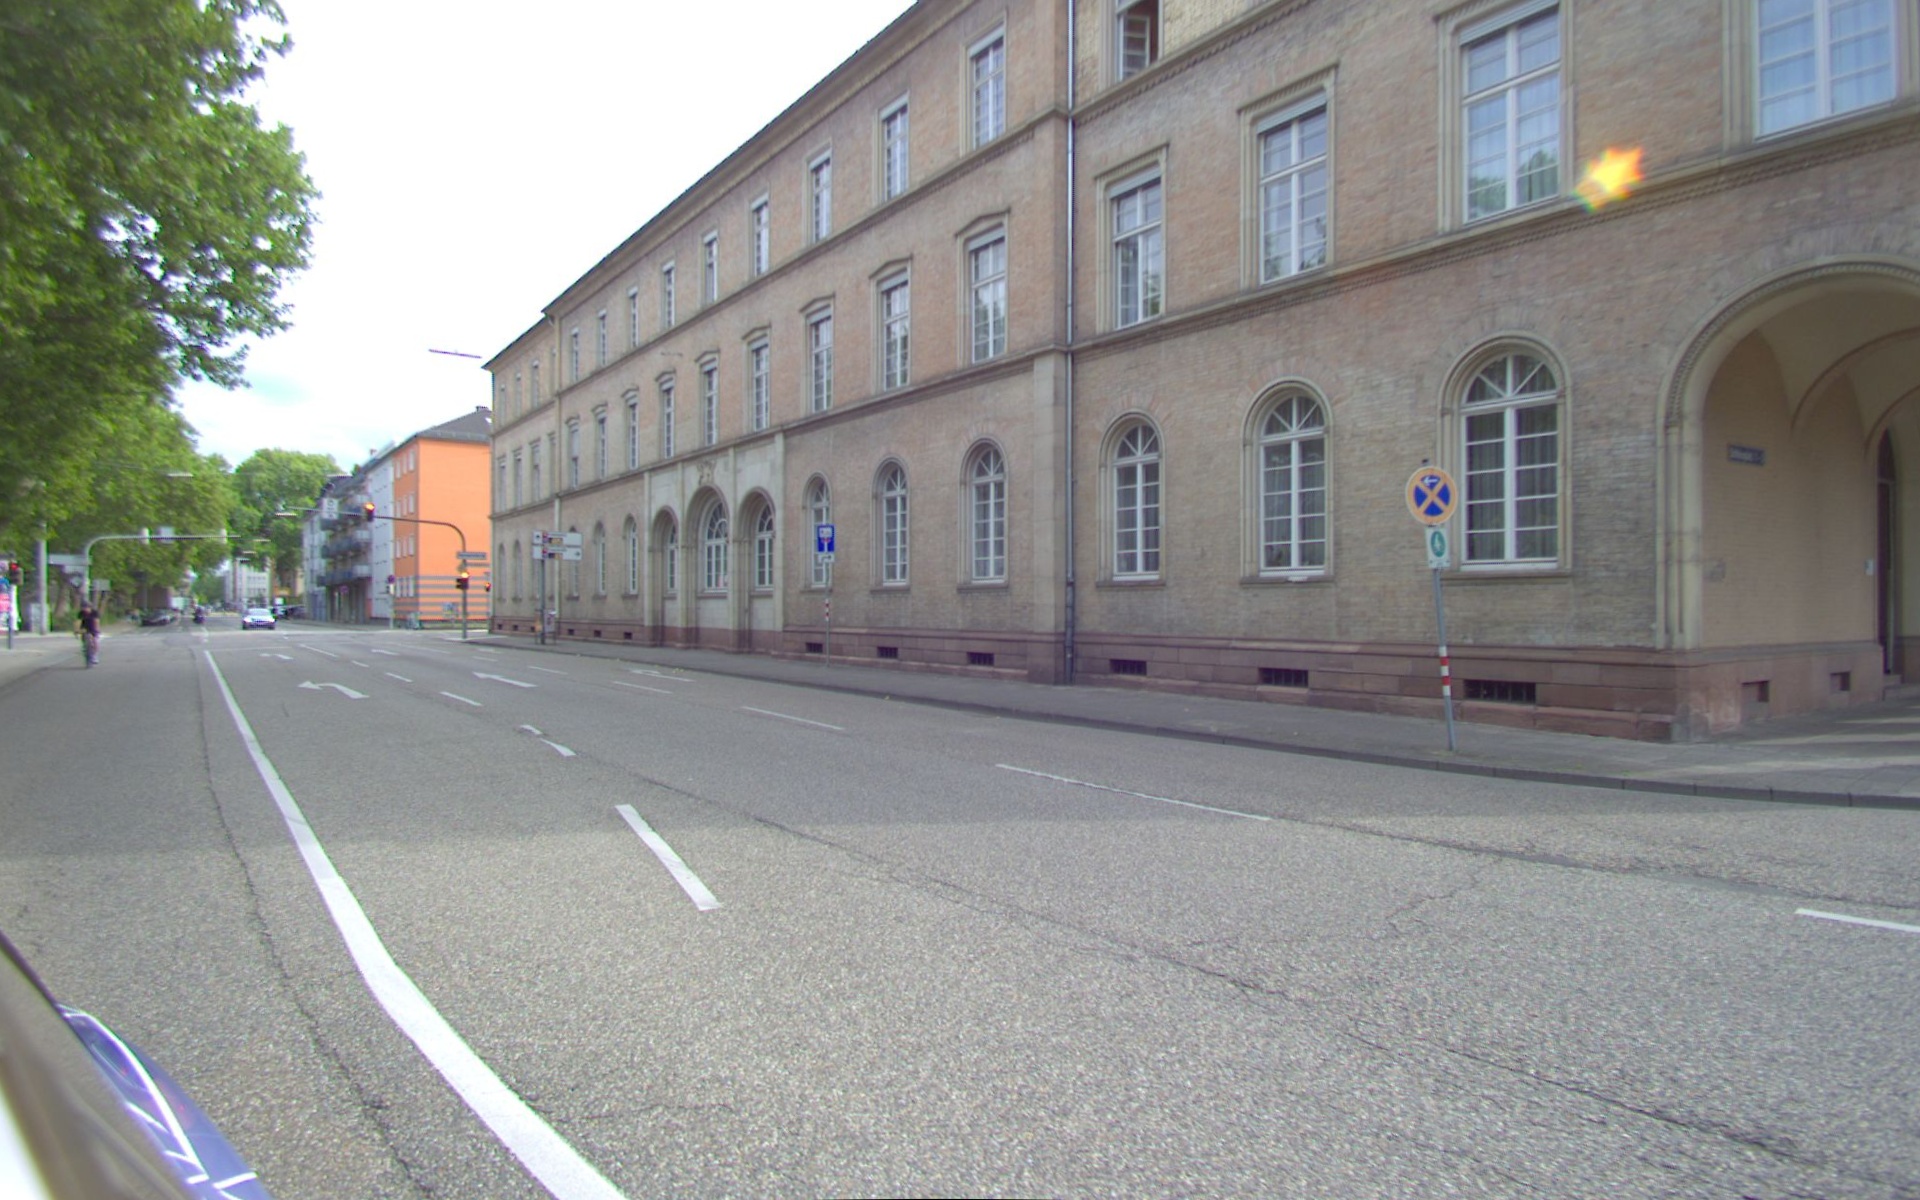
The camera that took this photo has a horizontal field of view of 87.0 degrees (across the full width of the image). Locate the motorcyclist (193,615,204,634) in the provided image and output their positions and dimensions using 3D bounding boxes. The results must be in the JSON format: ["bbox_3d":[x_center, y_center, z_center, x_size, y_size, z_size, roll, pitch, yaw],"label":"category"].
[{"bbox_3d":[-69.017,2.224,91.717,0.770,1.673,1.114,-1,-1,-41],"label":"motorcyclist"}]

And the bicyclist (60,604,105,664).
[{"bbox_3d":[-22.441,0.856,25.898,0.772,1.458,0.916,-2,0,-37],"label":"bicyclist"}]

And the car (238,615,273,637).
[{"bbox_3d":[-47.161,1.717,67.712,1.647,1.449,3.827,1,-1,-38],"label":"car"}]

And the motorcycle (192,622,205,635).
[{"bbox_3d":[-68.985,2.575,91.690,0.770,1.187,1.995,-1,-1,-40],"label":"motorcycle"}]

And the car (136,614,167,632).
[{"bbox_3d":[-74.924,2.084,93.808,1.967,1.553,4.281,-2,0,-36],"label":"car"}]

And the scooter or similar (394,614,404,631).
[{"bbox_3d":[-37.923,1.509,68.414,0.364,1.132,1.357,-2,0,-37],"label":"scooter or similar"}]

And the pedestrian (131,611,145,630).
[{"bbox_3d":[-86.713,2.170,106.778,0.988,2.029,1.000,-2,0,-36],"label":"pedestrian"}]

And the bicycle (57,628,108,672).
[{"bbox_3d":[-22.360,1.254,25.815,0.759,1.022,2.413,-2,1,-36],"label":"bicycle"}]

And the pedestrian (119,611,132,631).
[{"bbox_3d":[-87.531,2.197,106.179,0.988,2.029,1.000,-2,0,-36],"label":"pedestrian"}]

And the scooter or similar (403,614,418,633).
[{"bbox_3d":[-34.341,1.448,63.197,1.352,1.166,0.325,-2,0,39],"label":"scooter or similar"}]

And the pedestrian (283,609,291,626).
[{"bbox_3d":[-82.125,2.101,123.508,0.829,2.029,0.877,-2,0,-34],"label":"pedestrian"}]

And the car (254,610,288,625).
[{"bbox_3d":[-101.622,2.533,149.272,3.936,2.029,2.004,-2,0,-39],"label":"car"}]
